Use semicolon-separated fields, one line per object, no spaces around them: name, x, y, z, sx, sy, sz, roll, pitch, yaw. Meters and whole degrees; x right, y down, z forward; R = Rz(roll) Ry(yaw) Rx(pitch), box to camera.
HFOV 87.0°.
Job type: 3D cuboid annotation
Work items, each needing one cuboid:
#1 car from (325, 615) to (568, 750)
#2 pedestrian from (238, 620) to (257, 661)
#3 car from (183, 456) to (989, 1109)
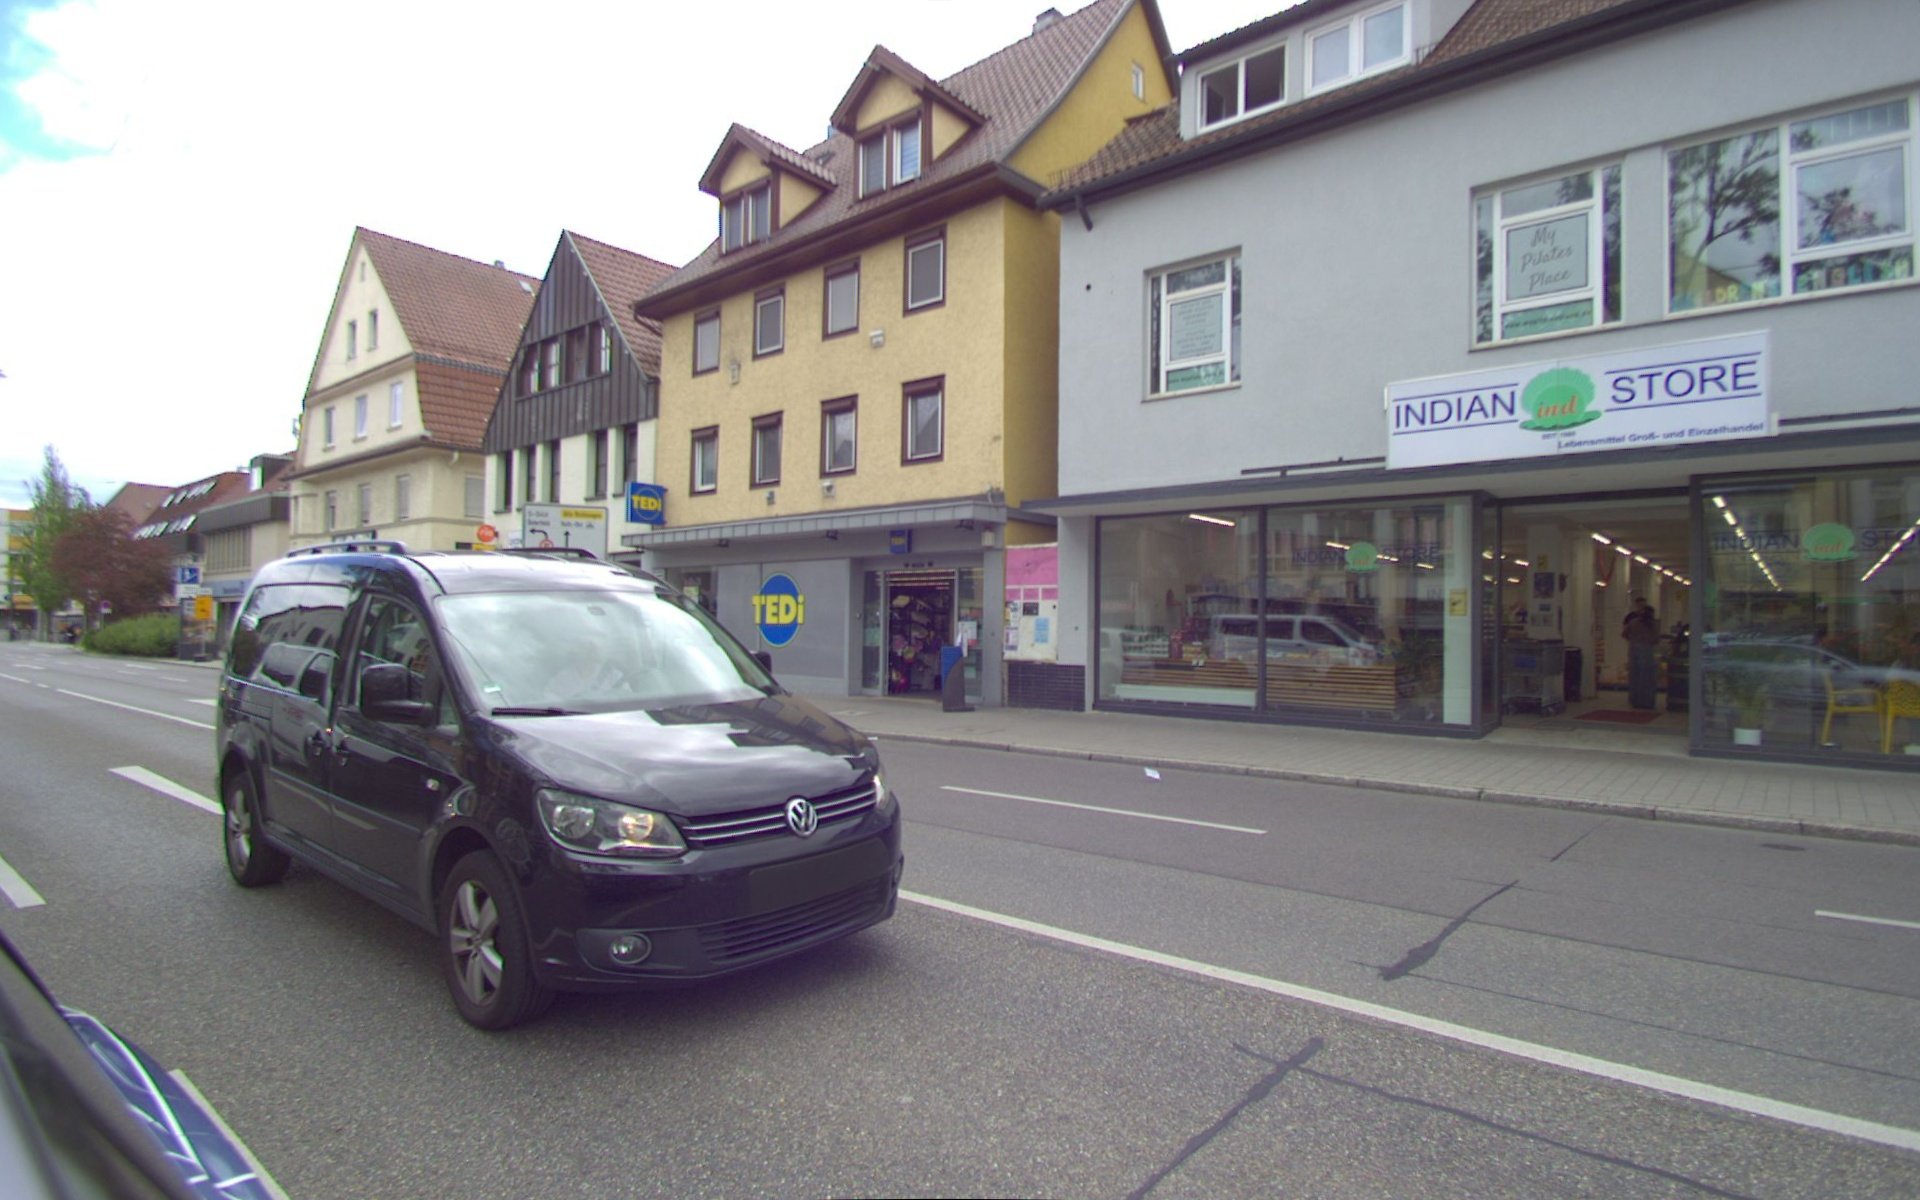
car;-6.655;0.982;13.005;3.461;1.500;1.558;-2;-3;41
pedestrian;-33.331;1.904;47.332;0.592;1.903;0.544;-2;-1;37
car;-2.208;0.563;5.069;4.630;1.869;1.727;-2;-1;40
